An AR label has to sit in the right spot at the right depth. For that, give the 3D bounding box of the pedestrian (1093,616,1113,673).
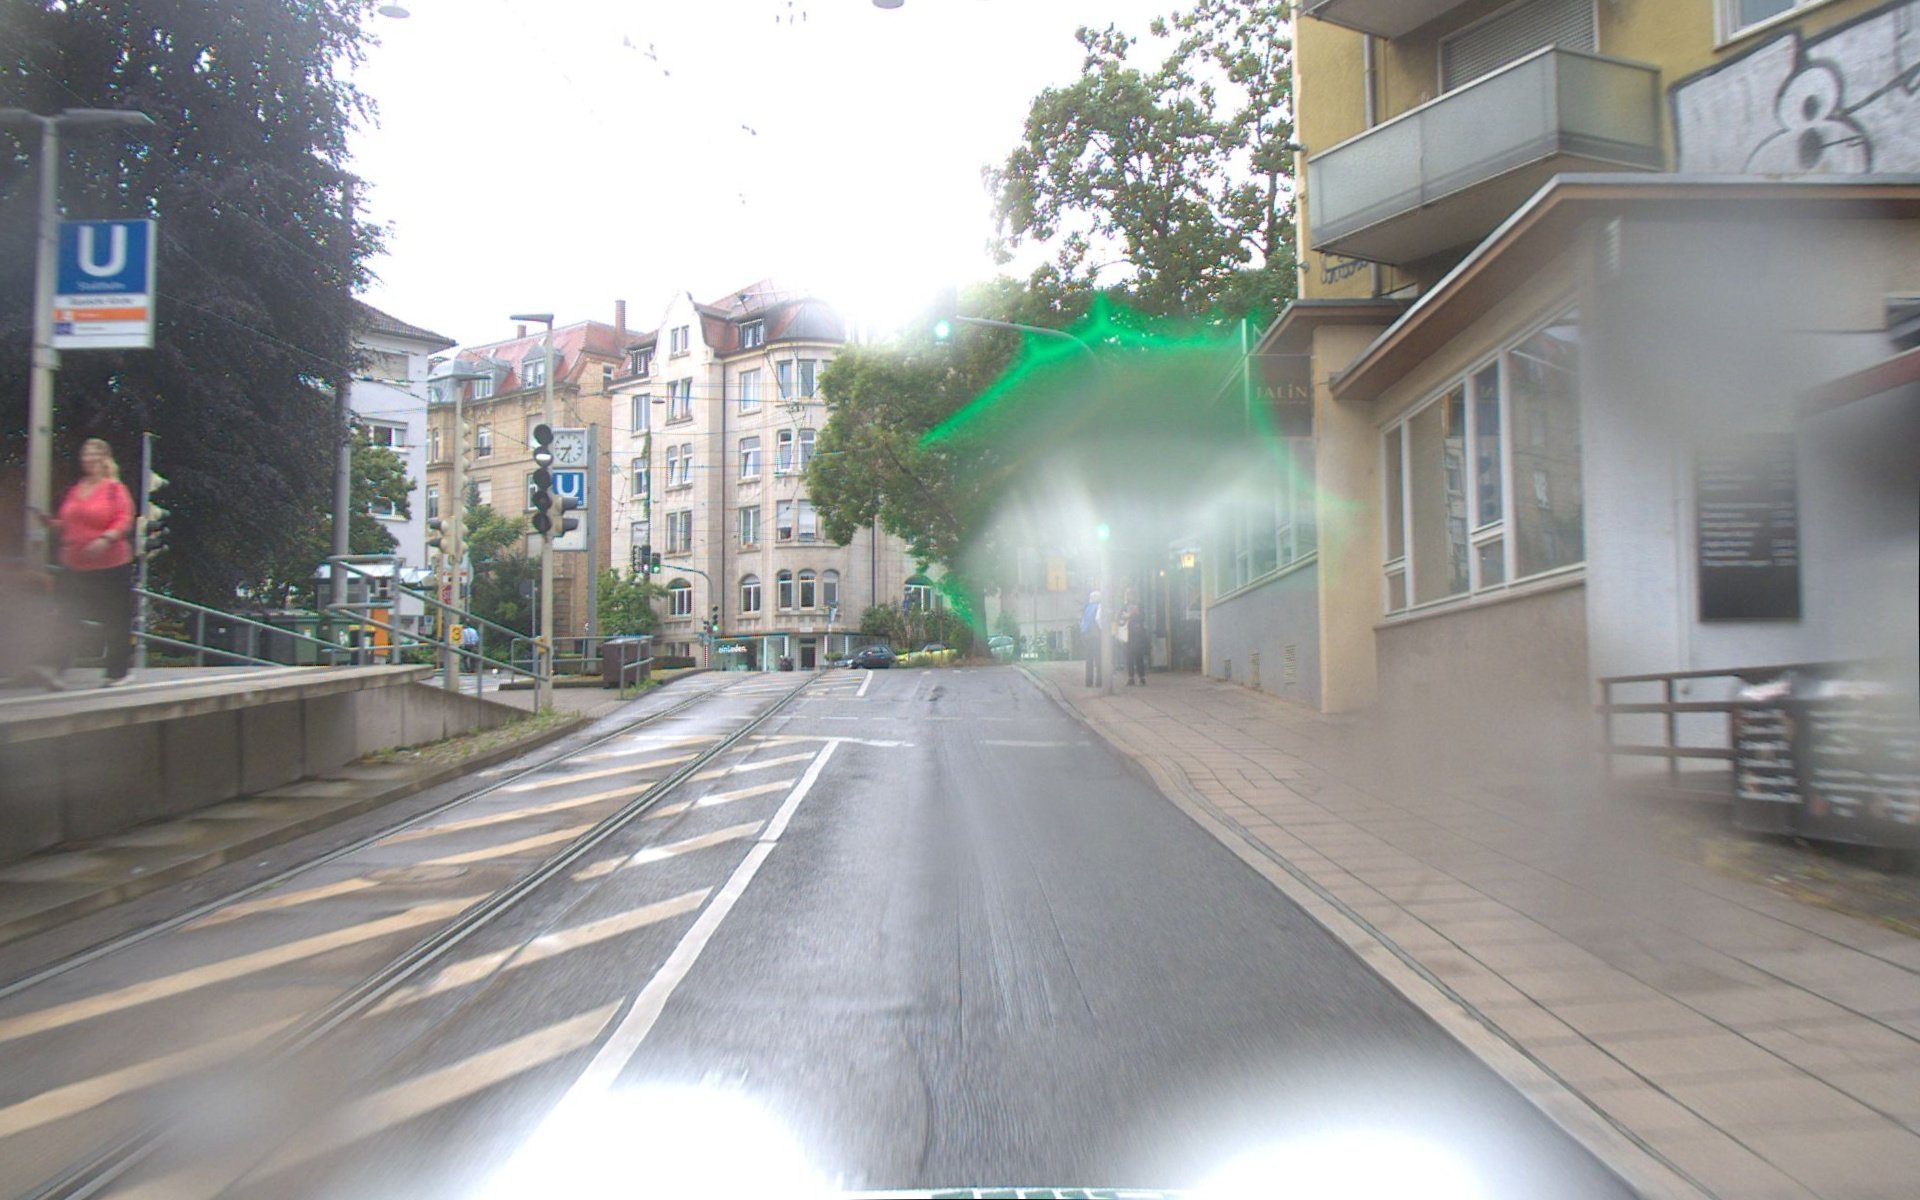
[{"bbox_3d":[2.984,0.932,34.519,0.318,1.170,0.317,-3,0,-5],"label":"pedestrian"}]

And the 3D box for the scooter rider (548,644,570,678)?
[{"bbox_3d":[-21.244,3.248,87.655,0.825,1.736,0.624,0,-5,26],"label":"scooter rider"}]

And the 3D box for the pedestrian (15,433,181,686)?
[{"bbox_3d":[-5.584,-0.258,10.752,0.657,1.575,0.771,-1,0,-1],"label":"pedestrian"}]

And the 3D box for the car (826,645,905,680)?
[{"bbox_3d":[-4.648,3.075,81.482,3.641,1.534,1.710,-2,-1,-43],"label":"car"}]

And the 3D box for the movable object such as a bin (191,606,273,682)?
[{"bbox_3d":[-14.422,0.858,32.781,1.000,1.459,1.304,1,0,1],"label":"movable object such as a bin"}]

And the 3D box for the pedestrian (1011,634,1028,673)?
[{"bbox_3d":[2.469,2.223,68.302,0.589,1.593,0.544,1,0,-11],"label":"pedestrian"}]

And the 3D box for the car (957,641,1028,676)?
[{"bbox_3d":[1.743,3.107,87.932,1.595,1.534,3.750,-7,-2,43],"label":"car"}]

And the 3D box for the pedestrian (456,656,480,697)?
[{"bbox_3d":[-21.287,3.303,71.547,0.662,1.729,0.740,1,-1,44],"label":"pedestrian"}]

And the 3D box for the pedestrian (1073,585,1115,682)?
[{"bbox_3d":[2.231,0.555,27.637,0.576,1.581,0.649,-2,0,-1],"label":"pedestrian"}]

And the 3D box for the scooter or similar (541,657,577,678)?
[{"bbox_3d":[-21.249,3.587,87.666,1.963,1.068,0.514,0,-5,27],"label":"scooter or similar"}]

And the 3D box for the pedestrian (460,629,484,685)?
[{"bbox_3d":[-15.217,1.785,51.602,0.557,1.714,0.774,-2,-2,-8],"label":"pedestrian"}]

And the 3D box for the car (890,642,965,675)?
[{"bbox_3d":[-1.655,2.984,84.644,3.641,1.534,1.710,-2,-1,-43],"label":"car"}]

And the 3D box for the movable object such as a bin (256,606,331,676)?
[{"bbox_3d":[-14.438,0.876,35.873,1.000,1.459,1.444,1,0,1],"label":"movable object such as a bin"}]

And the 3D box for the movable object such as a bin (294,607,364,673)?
[{"bbox_3d":[-14.366,0.887,37.674,1.000,1.459,1.427,1,0,1],"label":"movable object such as a bin"}]

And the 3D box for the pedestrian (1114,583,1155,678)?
[{"bbox_3d":[2.965,0.512,28.143,0.535,1.581,0.558,-2,0,-3],"label":"pedestrian"}]

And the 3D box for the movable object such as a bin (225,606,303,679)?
[{"bbox_3d":[-14.387,0.867,34.240,1.000,1.459,1.355,1,0,1],"label":"movable object such as a bin"}]

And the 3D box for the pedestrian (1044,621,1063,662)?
[{"bbox_3d":[3.817,1.698,67.525,0.539,1.658,0.594,1,-1,-34],"label":"pedestrian"}]
